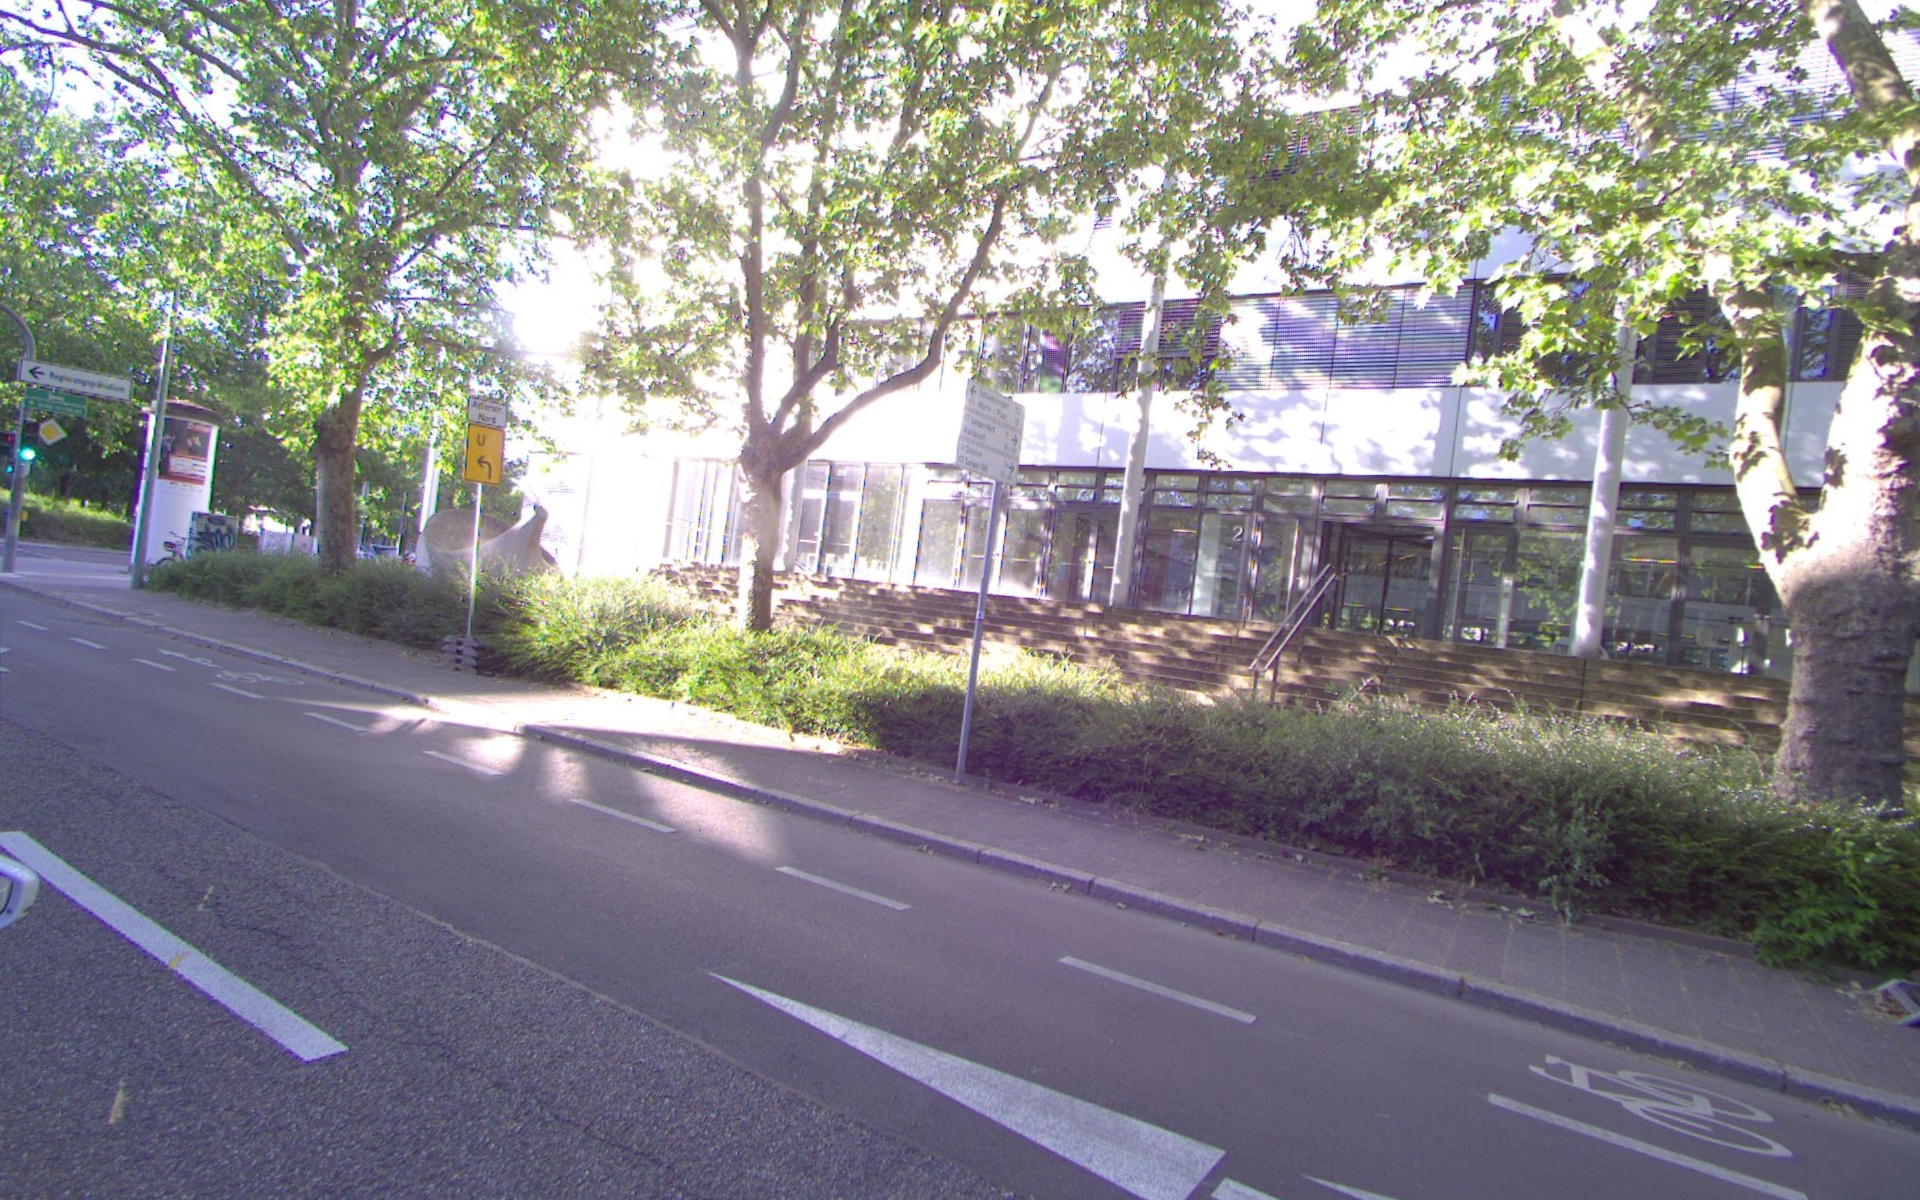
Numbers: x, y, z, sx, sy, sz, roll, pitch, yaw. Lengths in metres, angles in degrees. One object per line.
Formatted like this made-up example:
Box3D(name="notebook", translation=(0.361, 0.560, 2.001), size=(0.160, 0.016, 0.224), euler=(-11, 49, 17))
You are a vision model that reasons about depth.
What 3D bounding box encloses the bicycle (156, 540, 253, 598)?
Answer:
Box3D(name="bicycle", translation=(-15.925, -0.634, 21.263), size=(0.631, 1.040, 1.887), euler=(7, -2, -5))
